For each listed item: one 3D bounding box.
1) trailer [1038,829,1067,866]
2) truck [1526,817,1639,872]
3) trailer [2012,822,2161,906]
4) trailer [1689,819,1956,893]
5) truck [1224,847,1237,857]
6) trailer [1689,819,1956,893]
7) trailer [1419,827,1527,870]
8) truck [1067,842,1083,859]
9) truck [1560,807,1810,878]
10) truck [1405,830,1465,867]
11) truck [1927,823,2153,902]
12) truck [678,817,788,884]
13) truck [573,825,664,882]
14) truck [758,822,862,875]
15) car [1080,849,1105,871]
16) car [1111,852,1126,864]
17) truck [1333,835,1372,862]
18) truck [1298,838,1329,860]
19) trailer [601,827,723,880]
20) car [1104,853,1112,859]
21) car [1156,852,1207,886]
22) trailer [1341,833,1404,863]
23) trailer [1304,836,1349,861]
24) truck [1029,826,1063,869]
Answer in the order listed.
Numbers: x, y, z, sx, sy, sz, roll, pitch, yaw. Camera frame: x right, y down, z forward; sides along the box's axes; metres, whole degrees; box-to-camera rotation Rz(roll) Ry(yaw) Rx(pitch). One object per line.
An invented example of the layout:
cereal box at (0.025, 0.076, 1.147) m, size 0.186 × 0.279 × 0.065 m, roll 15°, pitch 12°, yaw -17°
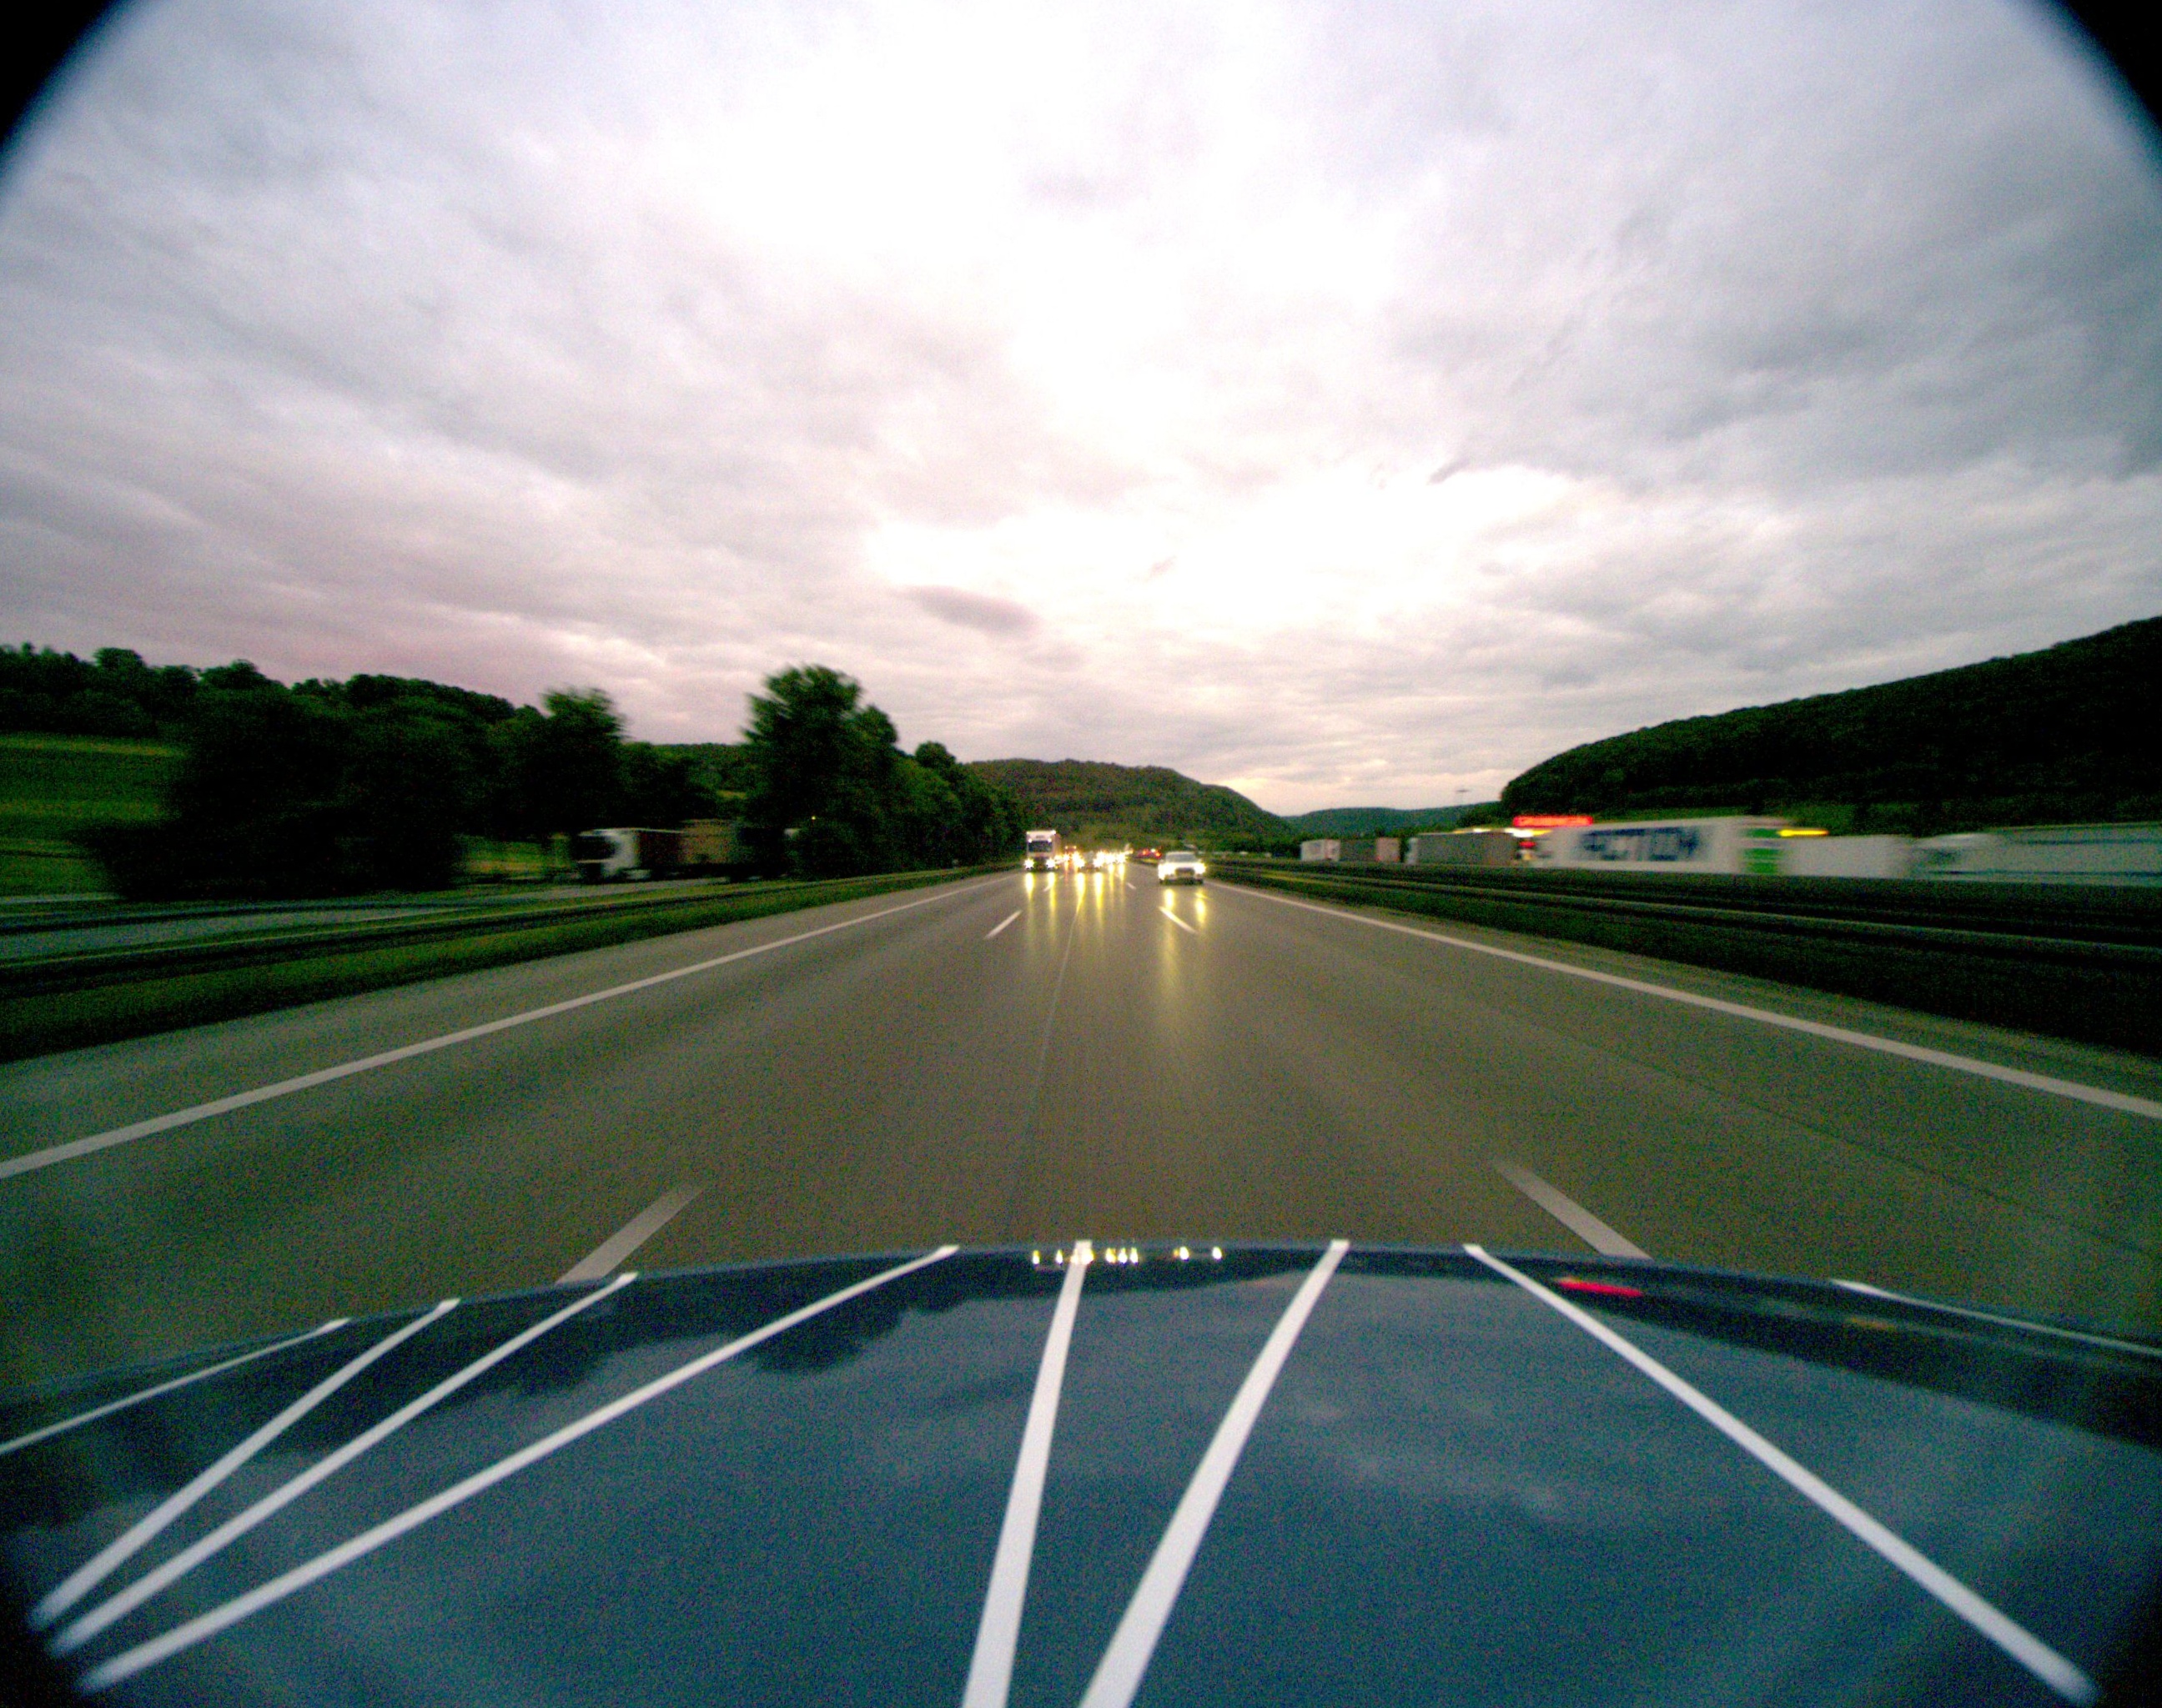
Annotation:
trailer at (-3.084, -0.728, 83.219) m, size 2.623 × 3.805 × 8.877 m, roll -1°, pitch 1°, yaw 1°
truck at (33.475, -0.598, 51.099) m, size 2.881 × 3.405 × 6.724 m, roll -1°, pitch 0°, yaw -3°
trailer at (48.476, 0.396, 32.129) m, size 2.880 × 3.657 × 12.717 m, roll -1°, pitch 0°, yaw 2°
trailer at (49.112, 0.076, 51.768) m, size 3.025 × 4.235 × 15.947 m, roll -1°, pitch 0°, yaw 2°
truck at (44.422, -0.552, 226.388) m, size 2.874 × 3.070 × 5.304 m, roll 0°, pitch 1°, yaw 1°
trailer at (49.122, 0.075, 51.767) m, size 3.025 × 4.235 × 15.947 m, roll -1°, pitch 0°, yaw 2°
trailer at (34.731, -0.479, 68.281) m, size 2.880 × 3.405 × 13.851 m, roll -1°, pitch 0°, yaw 2°
truck at (-1.288, -0.805, 177.167) m, size 3.119 × 3.850 × 14.162 m, roll 2°, pitch 0°, yaw 1°
truck at (33.848, -0.587, 43.987) m, size 2.881 × 3.405 × 13.785 m, roll -1°, pitch 0°, yaw -3°
truck at (34.967, -0.499, 75.337) m, size 2.880 × 3.405 × 6.727 m, roll -1°, pitch 0°, yaw 2°
truck at (48.700, 0.384, 38.996) m, size 2.880 × 3.619 × 7.029 m, roll -1°, pitch 0°, yaw 2°
truck at (-22.594, -0.228, 50.268) m, size 2.847 × 3.893 × 11.981 m, roll 0°, pitch 0°, yaw -6°
truck at (-33.779, -0.061, 55.768) m, size 2.846 × 3.893 × 6.383 m, roll 0°, pitch 1°, yaw -1°
truck at (-24.314, -0.526, 70.075) m, size 3.785 × 4.204 × 19.518 m, roll 0°, pitch 0°, yaw -4°
car at (0.938, 0.479, 61.929) m, size 1.927 × 1.674 × 4.806 m, roll 0°, pitch 1°, yaw 1°
car at (5.530, 0.537, 112.263) m, size 1.894 × 1.650 × 5.638 m, roll -1°, pitch 1°, yaw -1°
truck at (35.790, -0.693, 100.286) m, size 2.880 × 3.405 × 6.726 m, roll -1°, pitch 0°, yaw 2°
truck at (36.520, -0.766, 119.721) m, size 2.880 × 3.356 × 7.175 m, roll -1°, pitch 0°, yaw 2°
trailer at (-33.937, -0.116, 62.576) m, size 2.846 × 3.893 × 13.573 m, roll 0°, pitch 0°, yaw -1°
car at (6.499, 0.480, 185.164) m, size 1.898 × 1.503 × 4.000 m, roll -1°, pitch 0°, yaw 1°
car at (4.775, 0.661, 36.807) m, size 1.794 × 1.492 × 5.037 m, roll -2°, pitch 0°, yaw 1°
trailer at (35.554, -0.685, 93.341) m, size 2.880 × 3.405 × 13.571 m, roll -1°, pitch 0°, yaw 2°
trailer at (36.233, -0.778, 112.884) m, size 2.880 × 3.405 × 13.226 m, roll -1°, pitch 0°, yaw 2°
truck at (-3.278, -0.653, 73.560) m, size 2.623 × 3.805 × 10.385 m, roll -1°, pitch 1°, yaw 1°
